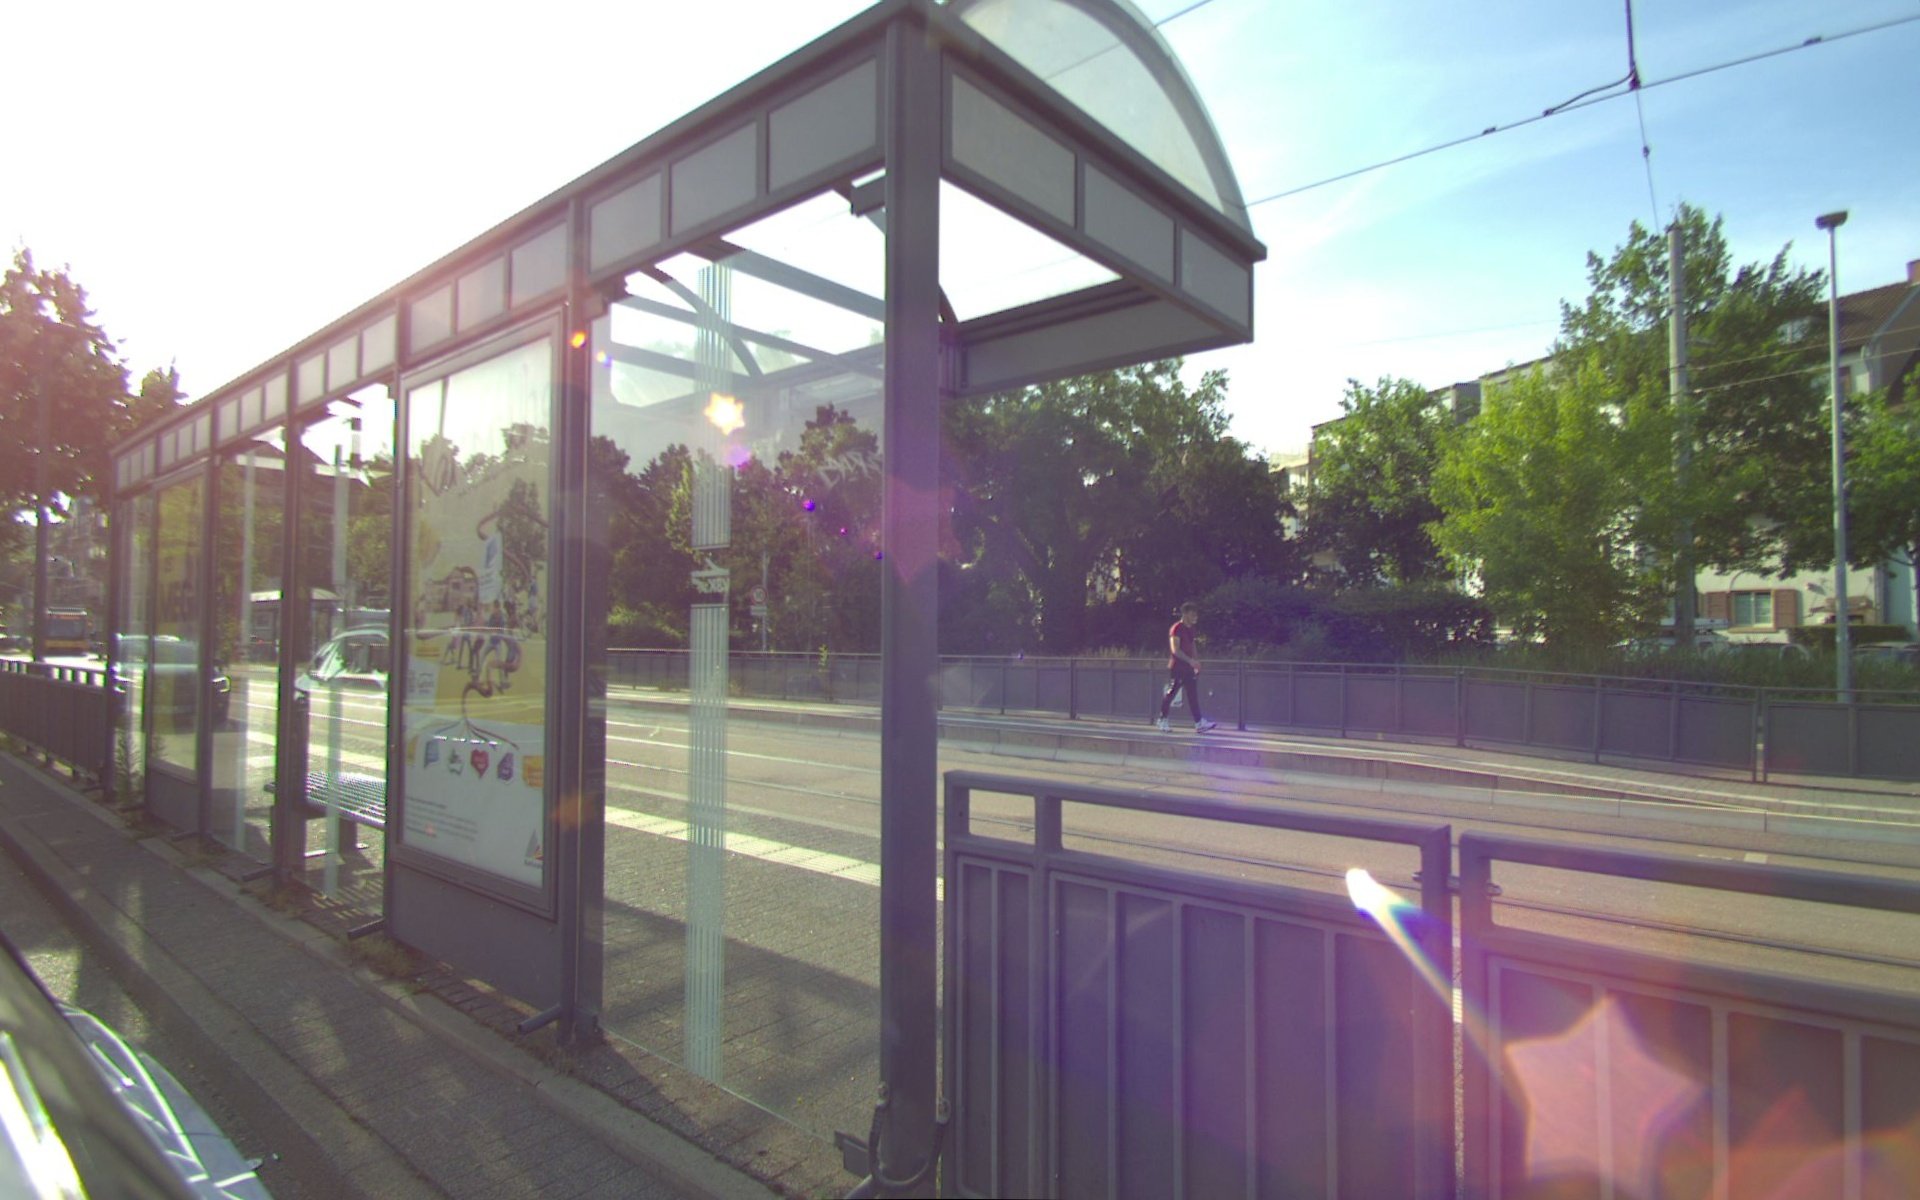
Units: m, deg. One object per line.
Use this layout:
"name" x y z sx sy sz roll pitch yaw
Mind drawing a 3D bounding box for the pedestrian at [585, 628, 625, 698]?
"pedestrian" -8.893 1.580 25.360 0.618 1.697 0.613 -2 -7 41

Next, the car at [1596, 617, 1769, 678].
"car" 18.927 1.249 26.521 3.930 1.497 1.854 1 -3 -22

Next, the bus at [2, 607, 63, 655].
"bus" -70.607 2.292 76.960 9.257 3.461 2.405 -1 -1 41

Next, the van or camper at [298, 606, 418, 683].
"van or camper" -25.501 1.801 42.754 6.408 2.990 2.494 -1 -1 41

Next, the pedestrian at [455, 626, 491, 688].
"pedestrian" -13.795 1.614 28.668 0.618 1.697 0.613 -2 -7 41

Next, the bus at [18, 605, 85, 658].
"bus" -63.639 2.160 70.845 9.257 3.461 2.405 -1 -1 41

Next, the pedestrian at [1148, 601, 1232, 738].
"pedestrian" 2.983 0.897 13.121 0.877 1.697 0.547 -2 -7 41
